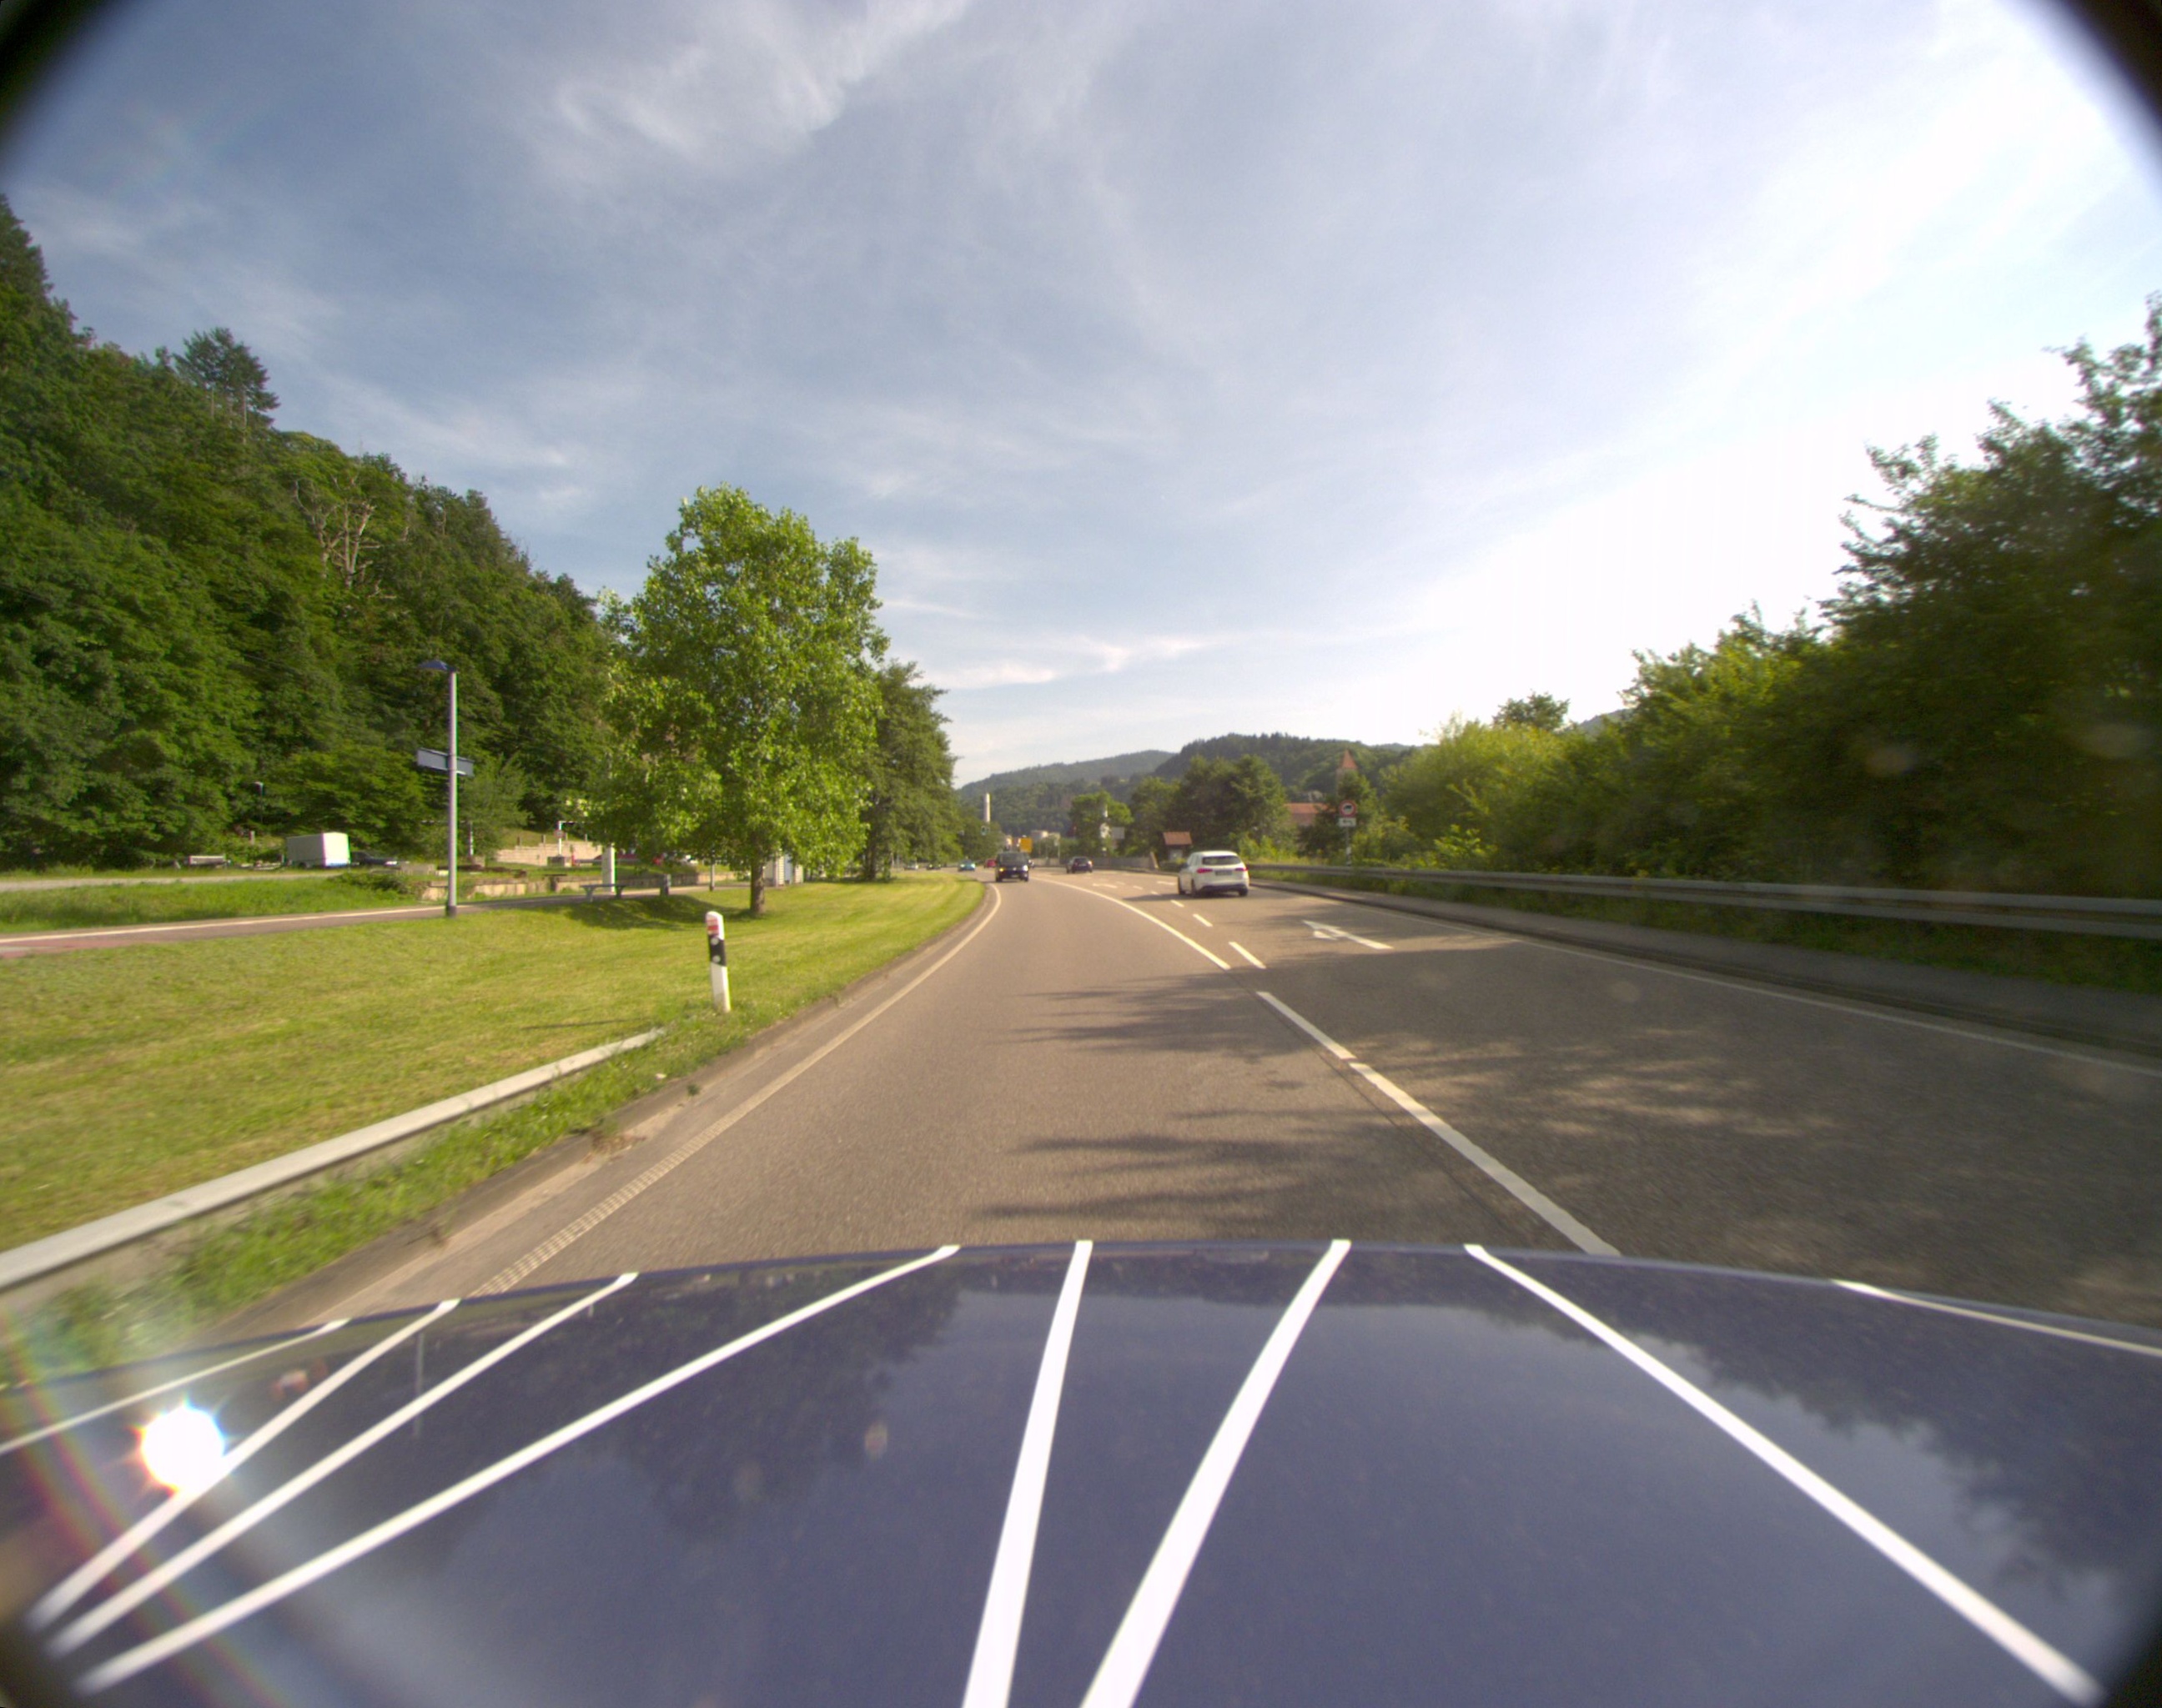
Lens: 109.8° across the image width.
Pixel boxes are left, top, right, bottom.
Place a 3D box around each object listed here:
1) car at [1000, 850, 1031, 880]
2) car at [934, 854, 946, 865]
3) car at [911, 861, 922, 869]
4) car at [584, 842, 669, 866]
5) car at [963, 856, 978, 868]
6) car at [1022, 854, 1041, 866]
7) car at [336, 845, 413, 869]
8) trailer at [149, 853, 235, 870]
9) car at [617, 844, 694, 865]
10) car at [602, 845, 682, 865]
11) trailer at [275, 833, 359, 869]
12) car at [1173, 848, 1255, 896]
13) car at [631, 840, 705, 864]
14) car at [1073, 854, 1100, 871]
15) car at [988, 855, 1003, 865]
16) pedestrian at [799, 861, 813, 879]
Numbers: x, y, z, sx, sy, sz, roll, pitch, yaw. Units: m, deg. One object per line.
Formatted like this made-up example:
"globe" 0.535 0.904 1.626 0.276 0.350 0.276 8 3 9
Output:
"car" -4.232 0.690 49.200 1.910 1.868 4.345 0 0 -5
"car" -23.528 0.942 126.653 2.000 1.783 3.996 0 0 -11
"car" -31.818 2.066 147.177 1.879 1.452 3.724 1 0 -15
"car" -33.693 0.007 56.442 4.967 1.681 1.934 -1 0 -9
"car" -13.877 1.041 95.197 1.769 1.452 3.573 1 0 -10
"car" -6.298 0.743 96.357 1.857 1.461 4.538 -2 0 -11
"car" -44.994 0.201 48.423 3.608 1.478 1.672 0 0 8
"trailer" -48.830 0.417 41.775 3.067 0.909 1.739 0 0 10
"car" -34.324 0.013 61.492 4.967 1.578 2.139 -1 0 -9
"car" -34.004 0.084 58.946 4.967 1.460 1.894 -1 0 -9
"trailer" -47.037 -0.167 46.789 3.698 2.177 1.820 0 0 10
"car" 4.552 0.591 26.606 1.950 1.477 4.584 -2 0 -1
"car" -34.646 -0.153 63.868 4.967 1.932 2.139 -1 0 -9
"car" 0.390 0.702 63.965 1.699 1.394 4.199 -2 0 -7
"car" -13.194 0.856 116.815 1.682 1.451 4.196 -2 0 -14
"pedestrian" -17.778 1.026 49.096 0.637 1.154 0.726 0 0 -1
